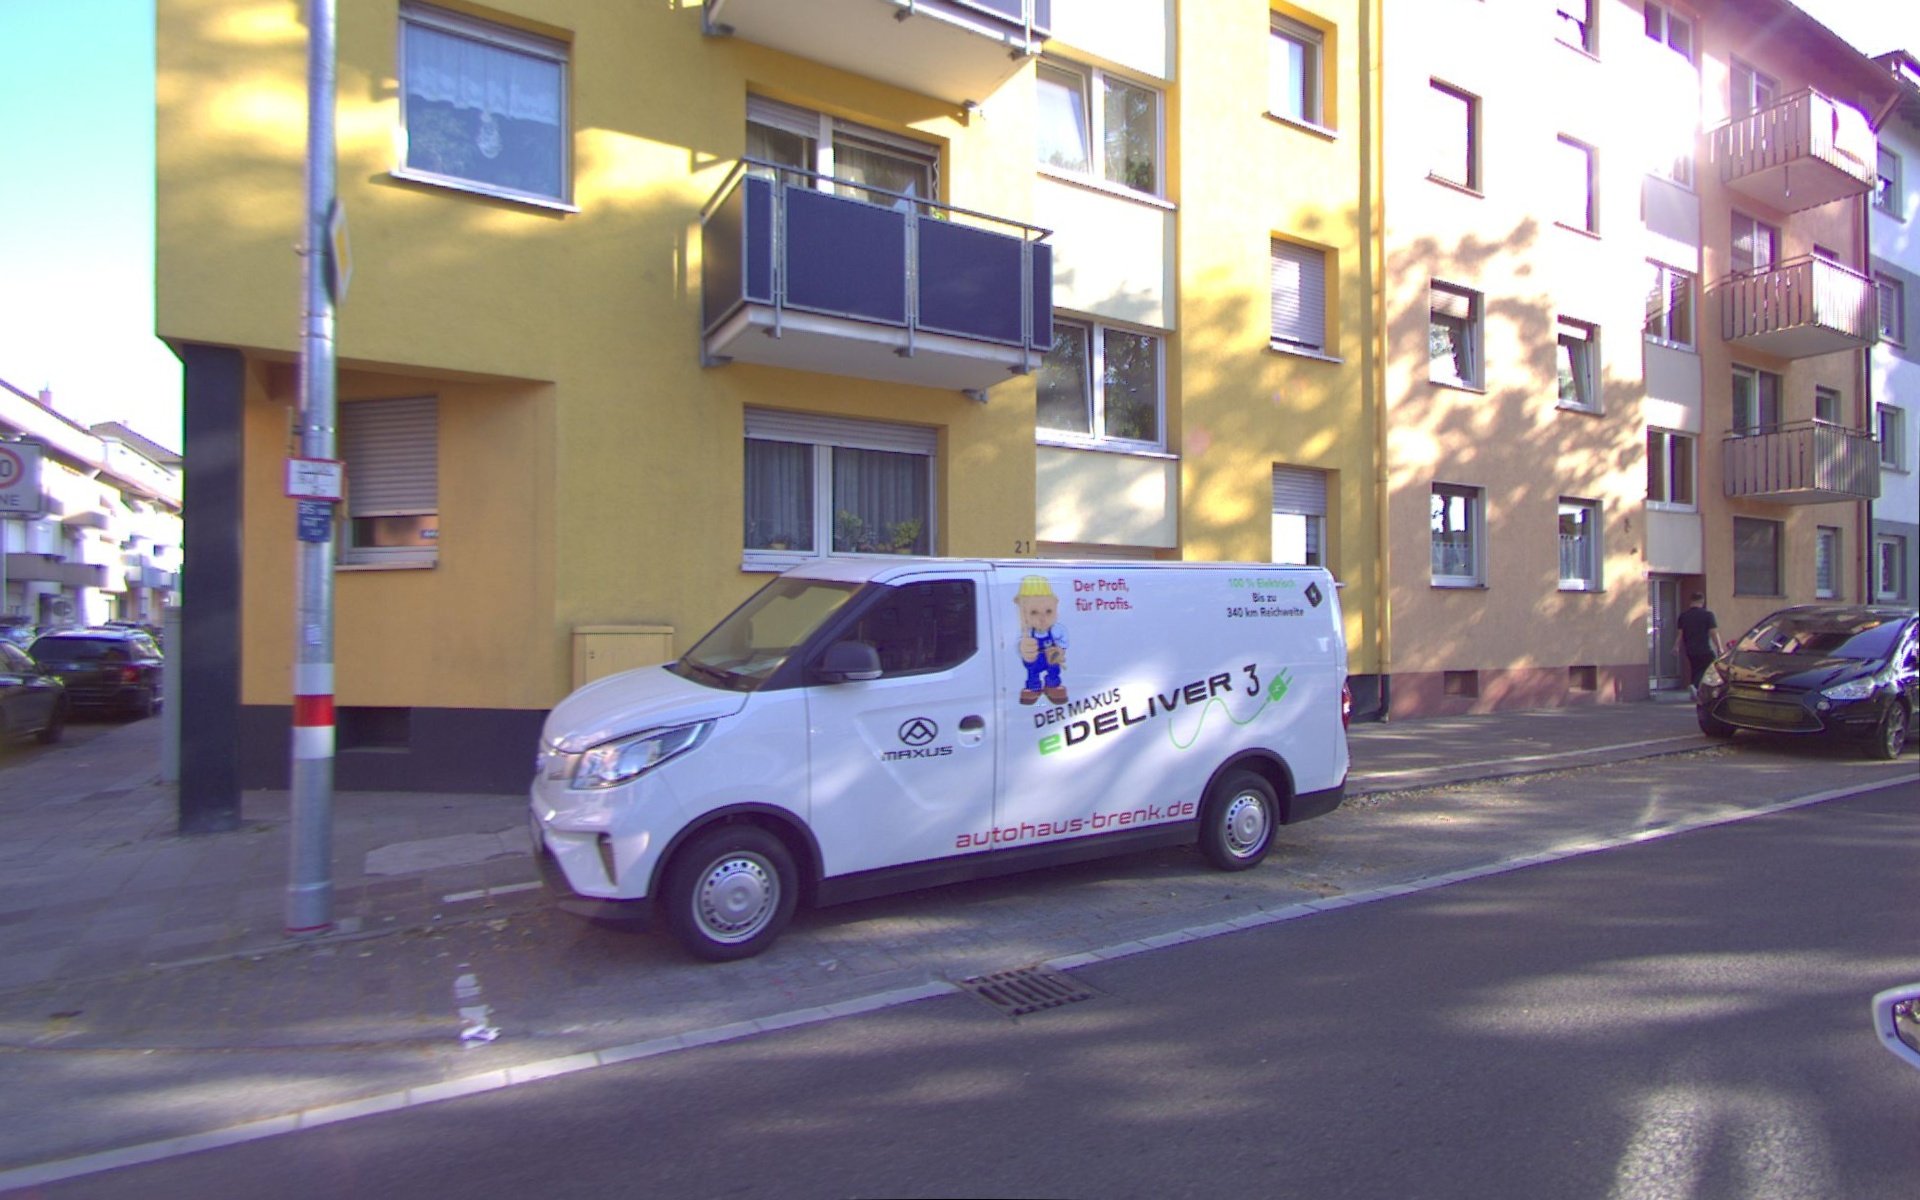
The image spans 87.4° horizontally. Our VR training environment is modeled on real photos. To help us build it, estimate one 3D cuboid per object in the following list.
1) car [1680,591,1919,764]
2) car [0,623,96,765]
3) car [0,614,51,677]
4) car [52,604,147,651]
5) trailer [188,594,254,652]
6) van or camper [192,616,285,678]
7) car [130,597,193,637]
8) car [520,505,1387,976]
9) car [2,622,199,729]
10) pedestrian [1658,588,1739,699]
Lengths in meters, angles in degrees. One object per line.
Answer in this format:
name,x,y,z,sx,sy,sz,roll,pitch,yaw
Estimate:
car,10.972,0.811,12.425,4.497,1.811,1.736,0,1,-31
car,-12.257,1.095,12.279,1.727,1.587,3.974,0,-2,-28
car,-29.108,1.346,29.954,1.895,1.791,4.278,0,-2,-27
car,-34.194,1.095,40.028,1.895,1.791,4.278,0,-2,-27
trailer,-40.005,1.193,54.481,2.213,2.932,5.098,2,0,-29
van or camper,-22.463,1.414,31.417,1.848,1.794,4.259,0,-1,-29
car,-43.042,0.934,54.233,1.976,2.040,3.970,2,-1,-29
car,0.177,0.583,6.146,5.145,1.932,1.726,0,0,-29
car,-14.508,1.190,17.208,1.727,1.587,3.974,0,-2,-28
pedestrian,12.363,0.707,16.821,0.922,1.793,0.762,0,2,-30
